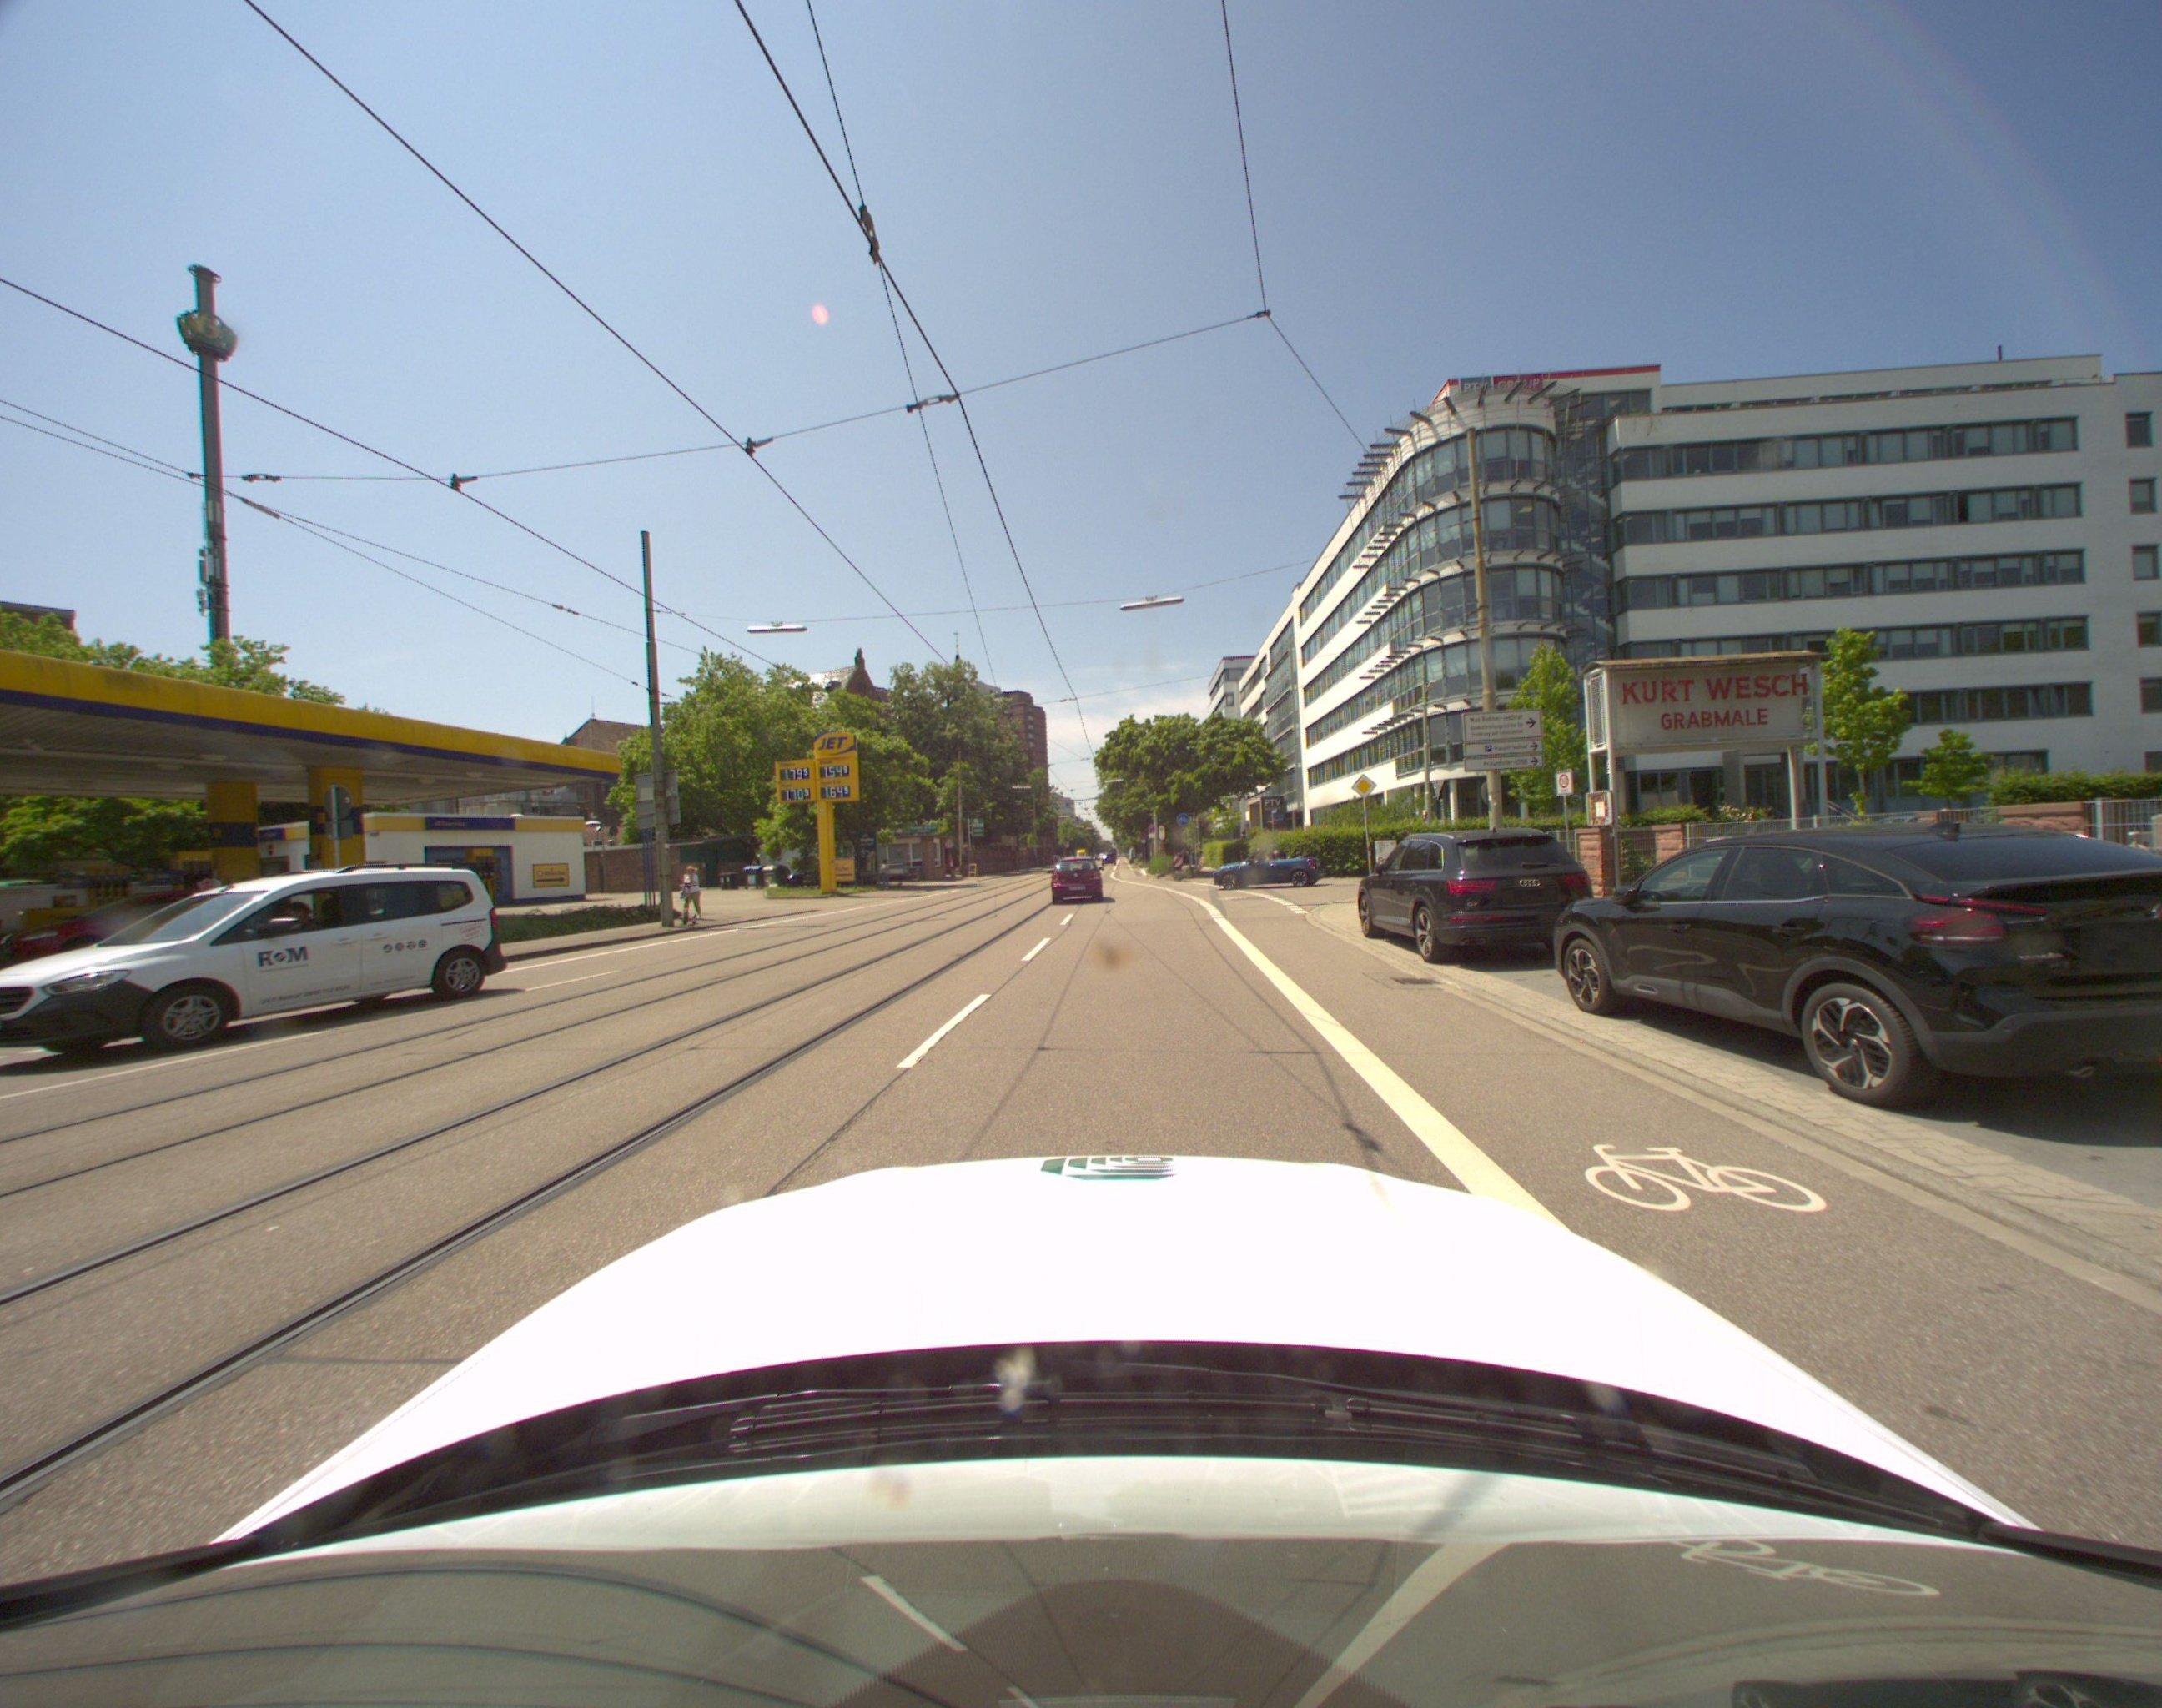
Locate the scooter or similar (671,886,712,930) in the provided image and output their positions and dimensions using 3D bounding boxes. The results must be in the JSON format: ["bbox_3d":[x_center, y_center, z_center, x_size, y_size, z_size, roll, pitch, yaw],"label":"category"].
[{"bbox_3d":[-11.414,1.568,23.910,0.517,1.200,1.376,-1,0,0],"label":"scooter or similar"}]

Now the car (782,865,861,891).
[{"bbox_3d":[-16.758,1.493,52.679,1.911,1.488,4.478,-1,0,42],"label":"car"}]

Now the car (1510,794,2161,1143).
[{"bbox_3d":[5.173,0.528,6.016,1.765,1.548,4.471,-5,-1,3],"label":"car"}]

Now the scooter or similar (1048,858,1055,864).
[{"bbox_3d":[-5.332,1.223,146.838,1.092,1.155,0.524,-1,0,-19],"label":"scooter or similar"}]

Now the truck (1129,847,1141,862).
[{"bbox_3d":[10.092,0.088,152.586,1.985,2.662,4.878,-1,0,3],"label":"truck"}]

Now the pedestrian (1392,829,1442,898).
[{"bbox_3d":[8.445,0.235,20.511,0.839,1.667,0.730,-2,0,-18],"label":"pedestrian"}]

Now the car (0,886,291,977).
[{"bbox_3d":[-21.191,1.643,18.523,1.809,1.504,4.224,-1,2,26],"label":"car"}]

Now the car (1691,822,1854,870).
[{"bbox_3d":[24.187,-0.273,28.587,4.133,1.409,1.768,-3,0,1],"label":"car"}]

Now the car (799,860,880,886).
[{"bbox_3d":[-15.002,1.166,50.796,1.911,1.488,4.478,-1,0,42],"label":"car"}]

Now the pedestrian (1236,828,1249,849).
[{"bbox_3d":[13.596,-1.302,68.613,0.867,1.715,1.094,-5,-1,15],"label":"pedestrian"}]

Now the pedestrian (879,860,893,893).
[{"bbox_3d":[-10.845,1.232,45.224,0.578,1.775,0.699,-1,0,-1],"label":"pedestrian"}]

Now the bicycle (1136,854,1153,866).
[{"bbox_3d":[7.050,0.692,90.521,1.876,1.182,0.695,-3,-1,2],"label":"bicycle"}]

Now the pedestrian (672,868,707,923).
[{"bbox_3d":[-12.423,1.314,25.851,0.620,1.691,0.725,-3,0,13],"label":"pedestrian"}]

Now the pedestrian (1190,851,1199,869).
[{"bbox_3d":[11.159,0.586,80.357,0.540,1.715,0.560,-4,-1,-27],"label":"pedestrian"}]

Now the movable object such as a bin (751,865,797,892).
[{"bbox_3d":[-18.755,1.494,49.767,1.507,1.509,2.112,-1,0,27],"label":"movable object such as a bin"}]

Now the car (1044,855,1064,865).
[{"bbox_3d":[-5.777,1.334,176.461,3.966,2.013,2.004,-3,0,6],"label":"car"}]

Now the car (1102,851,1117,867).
[{"bbox_3d":[3.802,0.631,109.687,1.987,2.013,4.000,-1,0,1],"label":"car"}]

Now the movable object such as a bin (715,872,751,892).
[{"bbox_3d":[-21.823,1.743,51.085,1.391,1.138,1.574,-1,0,27],"label":"movable object such as a bin"}]

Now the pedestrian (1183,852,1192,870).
[{"bbox_3d":[10.405,0.671,79.453,0.540,1.715,0.560,-4,-1,-27],"label":"pedestrian"}]

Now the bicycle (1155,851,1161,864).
[{"bbox_3d":[10.422,0.506,110.704,0.686,1.785,1.813,-4,-1,6],"label":"bicycle"}]

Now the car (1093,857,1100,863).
[{"bbox_3d":[4.097,1.704,217.161,1.763,1.516,4.003,-3,0,3],"label":"car"}]

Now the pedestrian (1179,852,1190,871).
[{"bbox_3d":[10.158,0.694,80.077,0.681,1.796,0.668,-4,-1,-29],"label":"pedestrian"}]

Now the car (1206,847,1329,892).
[{"bbox_3d":[6.617,0.552,28.933,3.877,1.372,1.714,-3,-1,27],"label":"car"}]

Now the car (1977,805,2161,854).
[{"bbox_3d":[33.816,-0.820,27.915,4.132,1.409,1.769,-3,0,2],"label":"car"}]

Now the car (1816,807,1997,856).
[{"bbox_3d":[28.889,-0.761,28.609,4.433,1.409,1.769,-3,0,2],"label":"car"}]

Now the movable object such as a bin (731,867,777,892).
[{"bbox_3d":[-20.250,1.588,50.500,1.507,1.432,2.112,-1,0,27],"label":"movable object such as a bin"}]

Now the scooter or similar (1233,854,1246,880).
[{"bbox_3d":[7.582,0.624,38.876,0.323,1.222,1.158,-1,0,24],"label":"scooter or similar"}]

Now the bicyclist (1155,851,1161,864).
[{"bbox_3d":[10.427,0.488,110.635,0.693,1.799,0.889,-4,-1,6],"label":"bicyclist"}]

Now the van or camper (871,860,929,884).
[{"bbox_3d":[-13.280,1.323,59.900,3.769,1.629,1.873,-1,1,2],"label":"van or camper"}]

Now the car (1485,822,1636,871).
[{"bbox_3d":[16.685,-0.244,28.503,4.127,1.459,1.821,-3,0,6],"label":"car"}]

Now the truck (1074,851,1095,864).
[{"bbox_3d":[0.893,0.798,182.014,2.350,2.787,7.354,-3,0,18],"label":"truck"}]

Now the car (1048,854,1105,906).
[{"bbox_3d":[-0.074,0.796,26.776,1.613,1.486,4.002,-3,0,2],"label":"car"}]

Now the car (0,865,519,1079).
[{"bbox_3d":[-9.627,1.124,9.705,1.979,1.799,4.570,-3,0,14],"label":"car"}]

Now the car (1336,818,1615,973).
[{"bbox_3d":[5.470,0.490,12.211,1.916,1.693,5.088,-5,0,4],"label":"car"}]
